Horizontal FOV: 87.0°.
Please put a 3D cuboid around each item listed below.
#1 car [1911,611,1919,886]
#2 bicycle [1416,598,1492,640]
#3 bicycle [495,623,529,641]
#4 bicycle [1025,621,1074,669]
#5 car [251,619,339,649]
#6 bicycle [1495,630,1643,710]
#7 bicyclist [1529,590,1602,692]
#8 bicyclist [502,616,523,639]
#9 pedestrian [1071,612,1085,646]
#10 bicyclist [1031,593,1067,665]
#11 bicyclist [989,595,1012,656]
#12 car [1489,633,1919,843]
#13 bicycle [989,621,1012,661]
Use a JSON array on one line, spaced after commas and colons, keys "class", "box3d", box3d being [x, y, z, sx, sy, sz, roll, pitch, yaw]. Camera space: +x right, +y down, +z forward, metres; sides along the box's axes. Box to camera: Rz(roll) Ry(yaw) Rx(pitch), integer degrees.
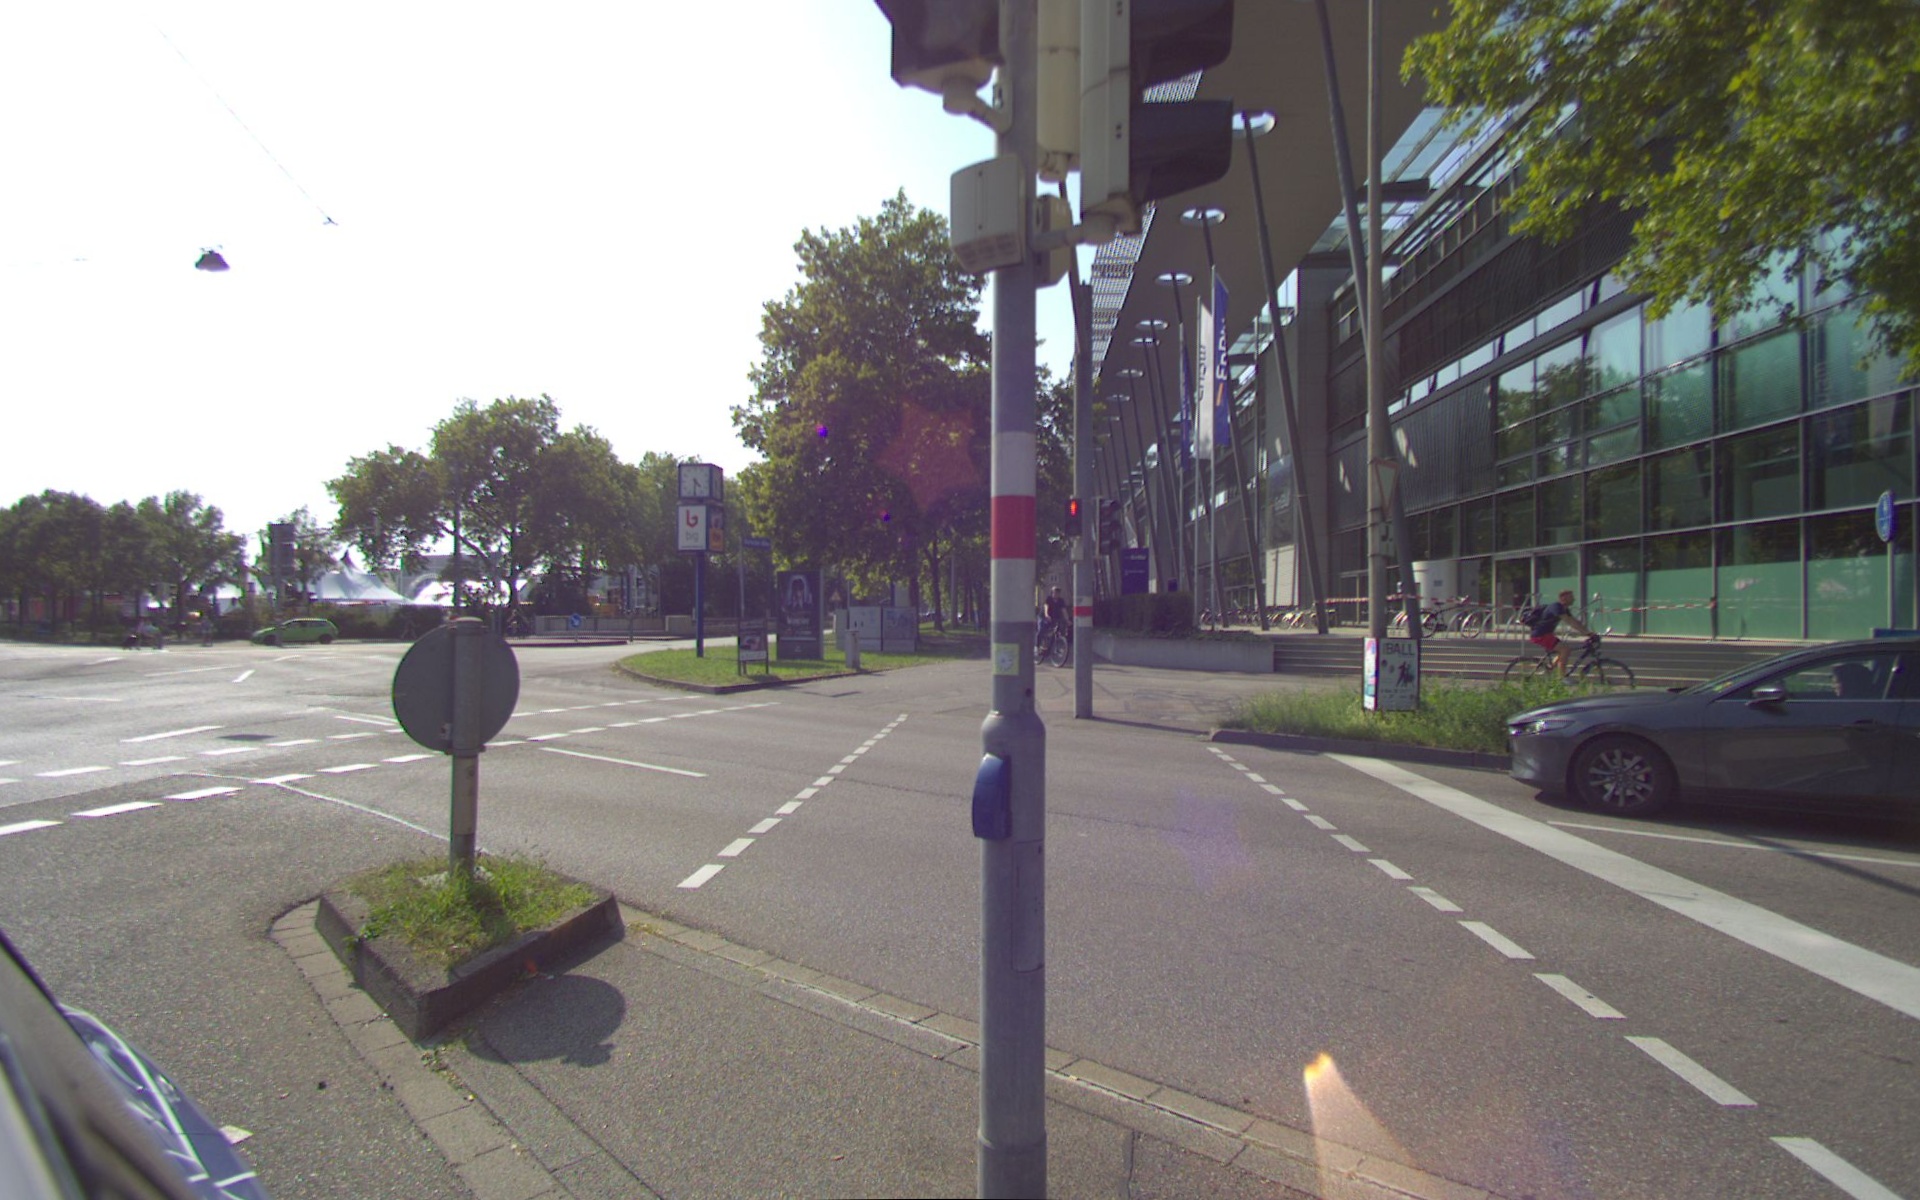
[{"class": "car", "box3d": [6.522, 0.786, 3.689, 4.258, 1.515, 1.837, -1, -2, 38]}, {"class": "bicycle", "box3d": [13.142, 0.491, 26.933, 1.838, 1.102, 0.528, 0, 0, -7]}, {"class": "bicycle", "box3d": [-22.975, 1.641, 51.893, 1.723, 0.871, 0.527, 0, -1, 18]}, {"class": "bicycle", "box3d": [2.137, 1.065, 24.333, 0.675, 1.099, 1.901, 0, -1, -11]}, {"class": "car", "box3d": [-36.468, 1.849, 55.532, 3.933, 1.564, 2.005, 1, -1, -35]}, {"class": "bicycle", "box3d": [9.398, 1.049, 15.660, 1.887, 1.119, 0.649, 0, 0, 40]}, {"class": "bicyclist", "box3d": [9.382, 0.613, 15.674, 0.885, 1.529, 0.648, 0, 0, 40]}, {"class": "bicyclist", "box3d": [-22.936, 1.401, 51.884, 0.901, 1.149, 0.518, 0, -1, 18]}, {"class": "pedestrian", "box3d": [4.758, 1.160, 40.749, 0.482, 1.375, 0.538, 0, 0, -1]}, {"class": "bicyclist", "box3d": [2.139, 0.686, 24.357, 0.658, 1.701, 0.811, 0, -1, -11]}, {"class": "bicyclist", "box3d": [1.155, 0.725, 28.875, 0.625, 1.701, 0.809, 0, -1, 2]}, {"class": "car", "box3d": [6.493, 0.962, 7.707, 4.154, 1.363, 1.693, -1, -3, 38]}, {"class": "bicycle", "box3d": [1.151, 1.145, 28.831, 0.636, 1.103, 1.649, 0, -1, 2]}]
